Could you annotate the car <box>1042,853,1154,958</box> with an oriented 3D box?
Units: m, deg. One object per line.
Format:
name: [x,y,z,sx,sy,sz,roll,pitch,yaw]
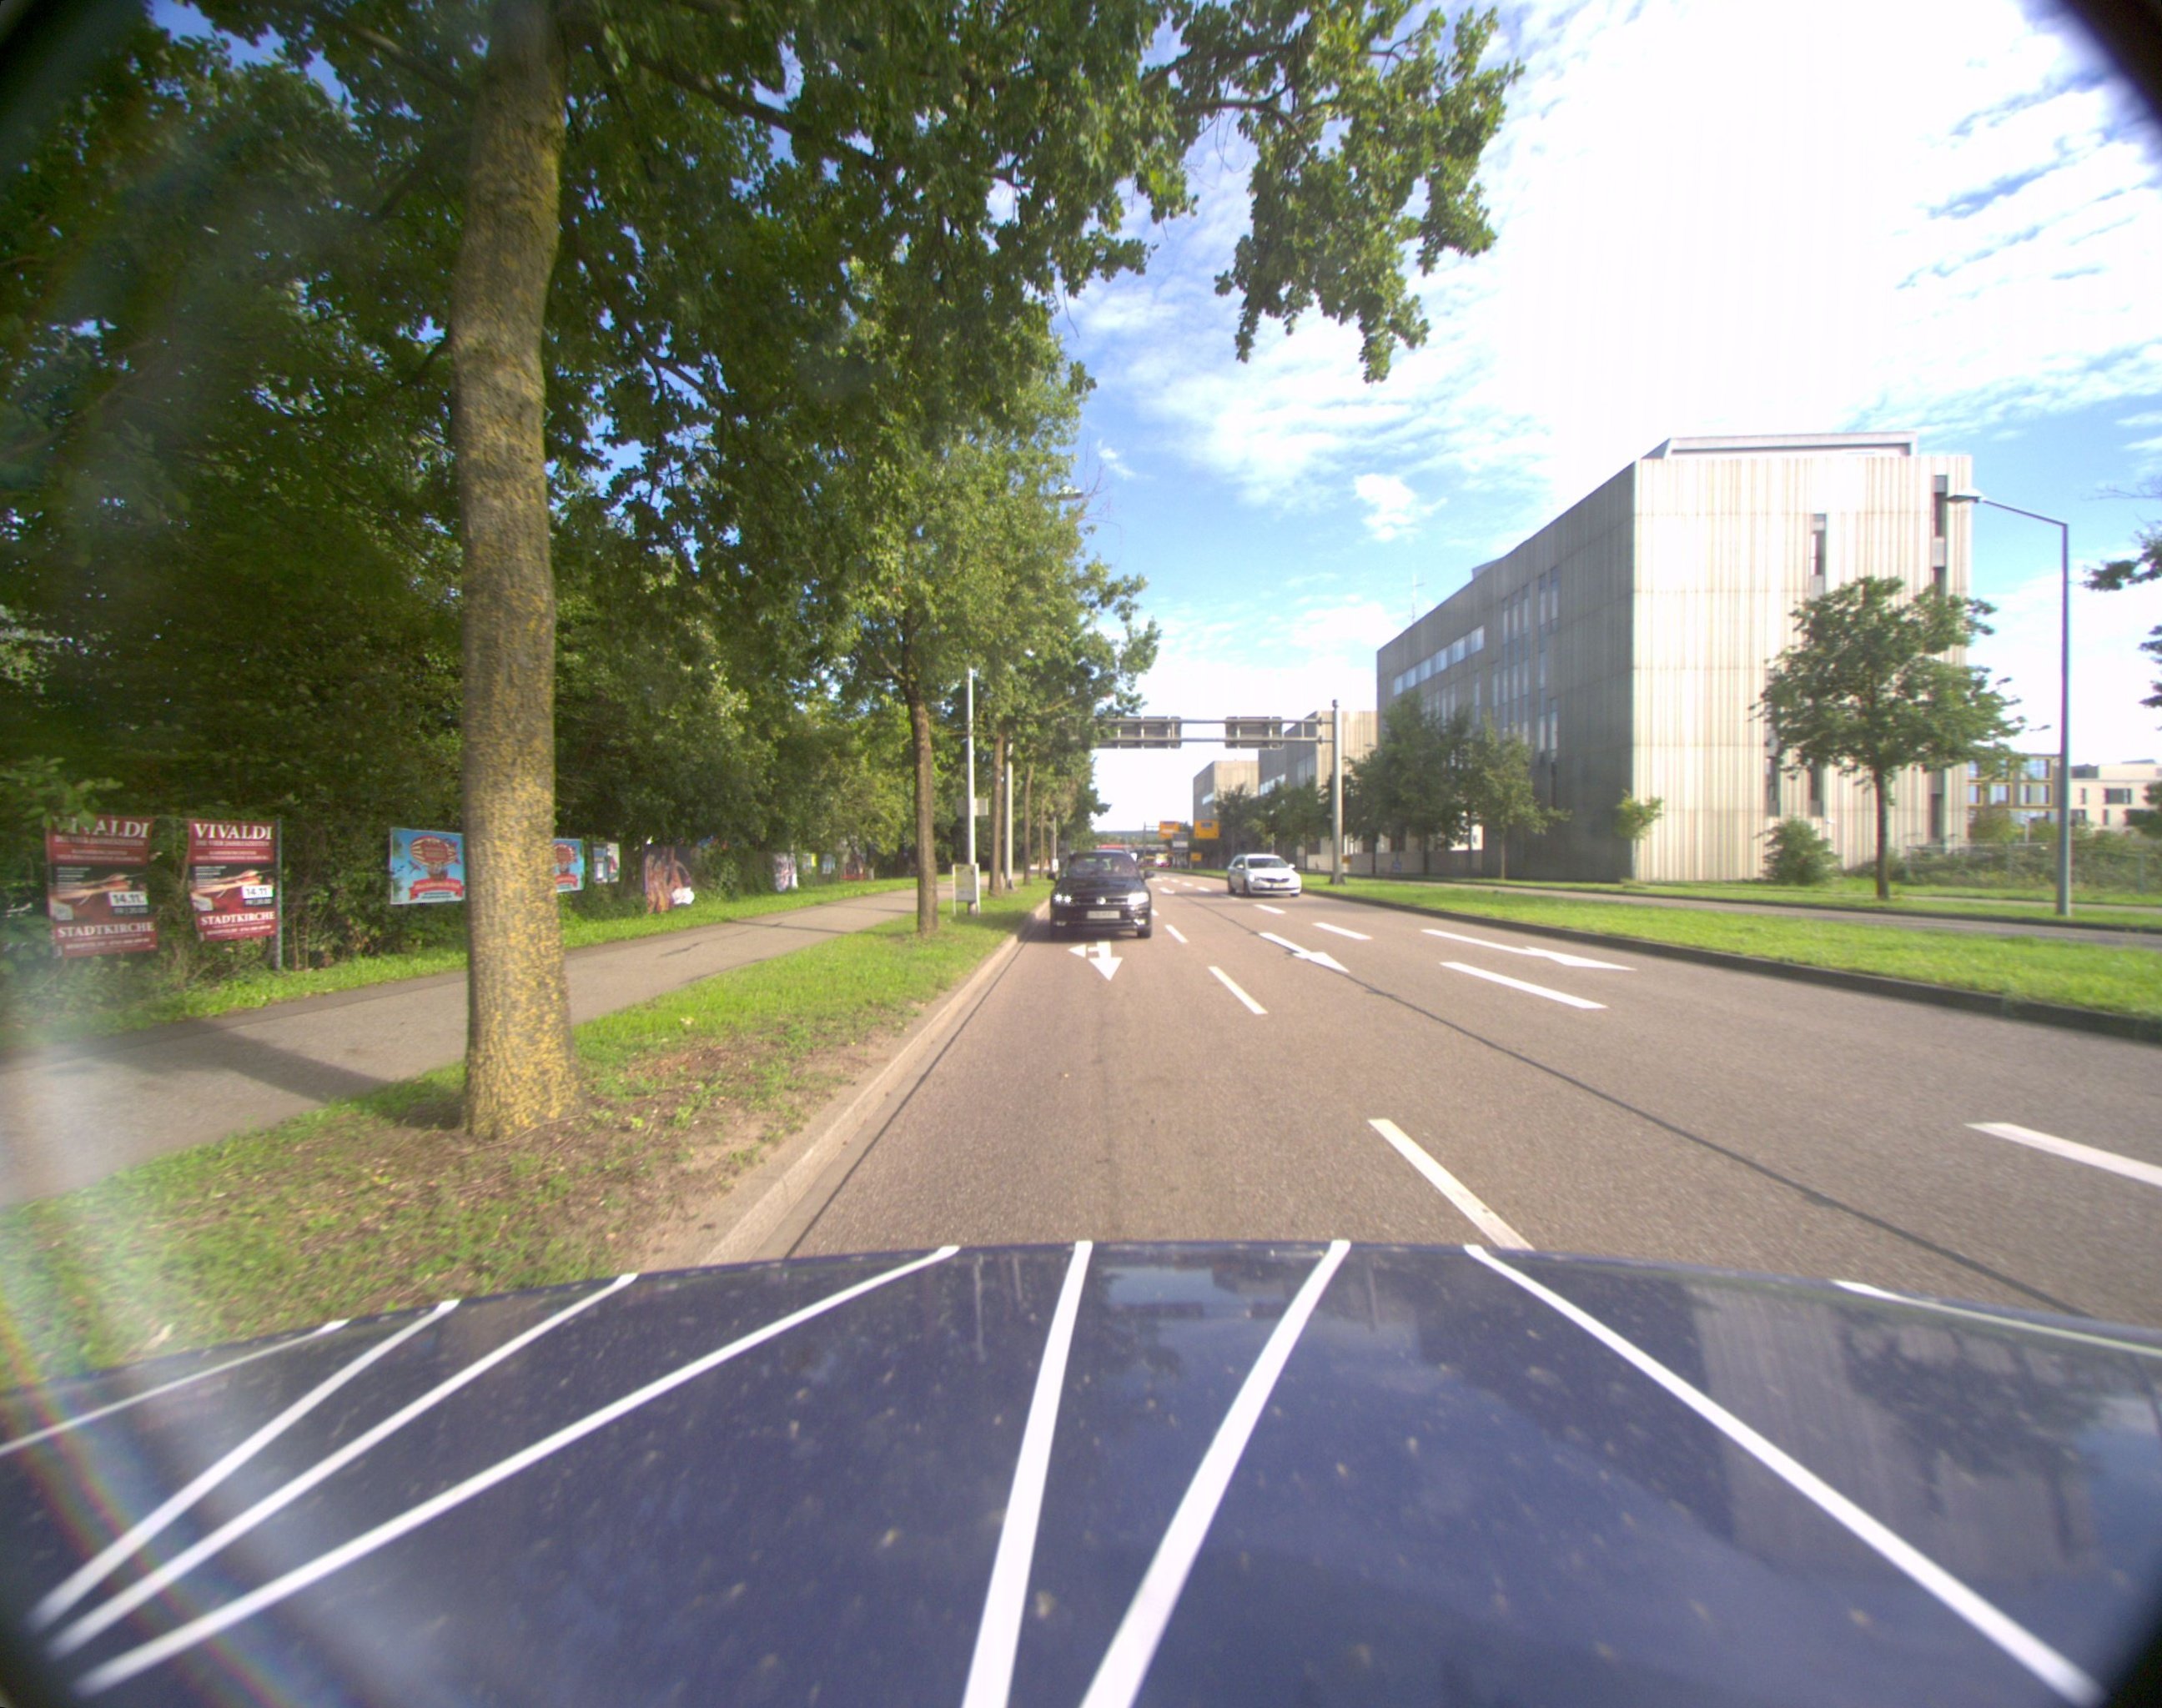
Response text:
car: [0.331,0.835,14.263,1.775,1.637,3.869,-2,0,2]

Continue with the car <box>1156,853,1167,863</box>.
car: [17.243,0.895,163.182,1.998,2.002,3.983,0,0,0]

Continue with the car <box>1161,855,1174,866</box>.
car: [16.833,1.257,148.109,1.998,2.002,4.000,0,0,0]

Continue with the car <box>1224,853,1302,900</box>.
car: [6.330,0.730,26.911,1.702,1.490,4.481,-1,0,0]
